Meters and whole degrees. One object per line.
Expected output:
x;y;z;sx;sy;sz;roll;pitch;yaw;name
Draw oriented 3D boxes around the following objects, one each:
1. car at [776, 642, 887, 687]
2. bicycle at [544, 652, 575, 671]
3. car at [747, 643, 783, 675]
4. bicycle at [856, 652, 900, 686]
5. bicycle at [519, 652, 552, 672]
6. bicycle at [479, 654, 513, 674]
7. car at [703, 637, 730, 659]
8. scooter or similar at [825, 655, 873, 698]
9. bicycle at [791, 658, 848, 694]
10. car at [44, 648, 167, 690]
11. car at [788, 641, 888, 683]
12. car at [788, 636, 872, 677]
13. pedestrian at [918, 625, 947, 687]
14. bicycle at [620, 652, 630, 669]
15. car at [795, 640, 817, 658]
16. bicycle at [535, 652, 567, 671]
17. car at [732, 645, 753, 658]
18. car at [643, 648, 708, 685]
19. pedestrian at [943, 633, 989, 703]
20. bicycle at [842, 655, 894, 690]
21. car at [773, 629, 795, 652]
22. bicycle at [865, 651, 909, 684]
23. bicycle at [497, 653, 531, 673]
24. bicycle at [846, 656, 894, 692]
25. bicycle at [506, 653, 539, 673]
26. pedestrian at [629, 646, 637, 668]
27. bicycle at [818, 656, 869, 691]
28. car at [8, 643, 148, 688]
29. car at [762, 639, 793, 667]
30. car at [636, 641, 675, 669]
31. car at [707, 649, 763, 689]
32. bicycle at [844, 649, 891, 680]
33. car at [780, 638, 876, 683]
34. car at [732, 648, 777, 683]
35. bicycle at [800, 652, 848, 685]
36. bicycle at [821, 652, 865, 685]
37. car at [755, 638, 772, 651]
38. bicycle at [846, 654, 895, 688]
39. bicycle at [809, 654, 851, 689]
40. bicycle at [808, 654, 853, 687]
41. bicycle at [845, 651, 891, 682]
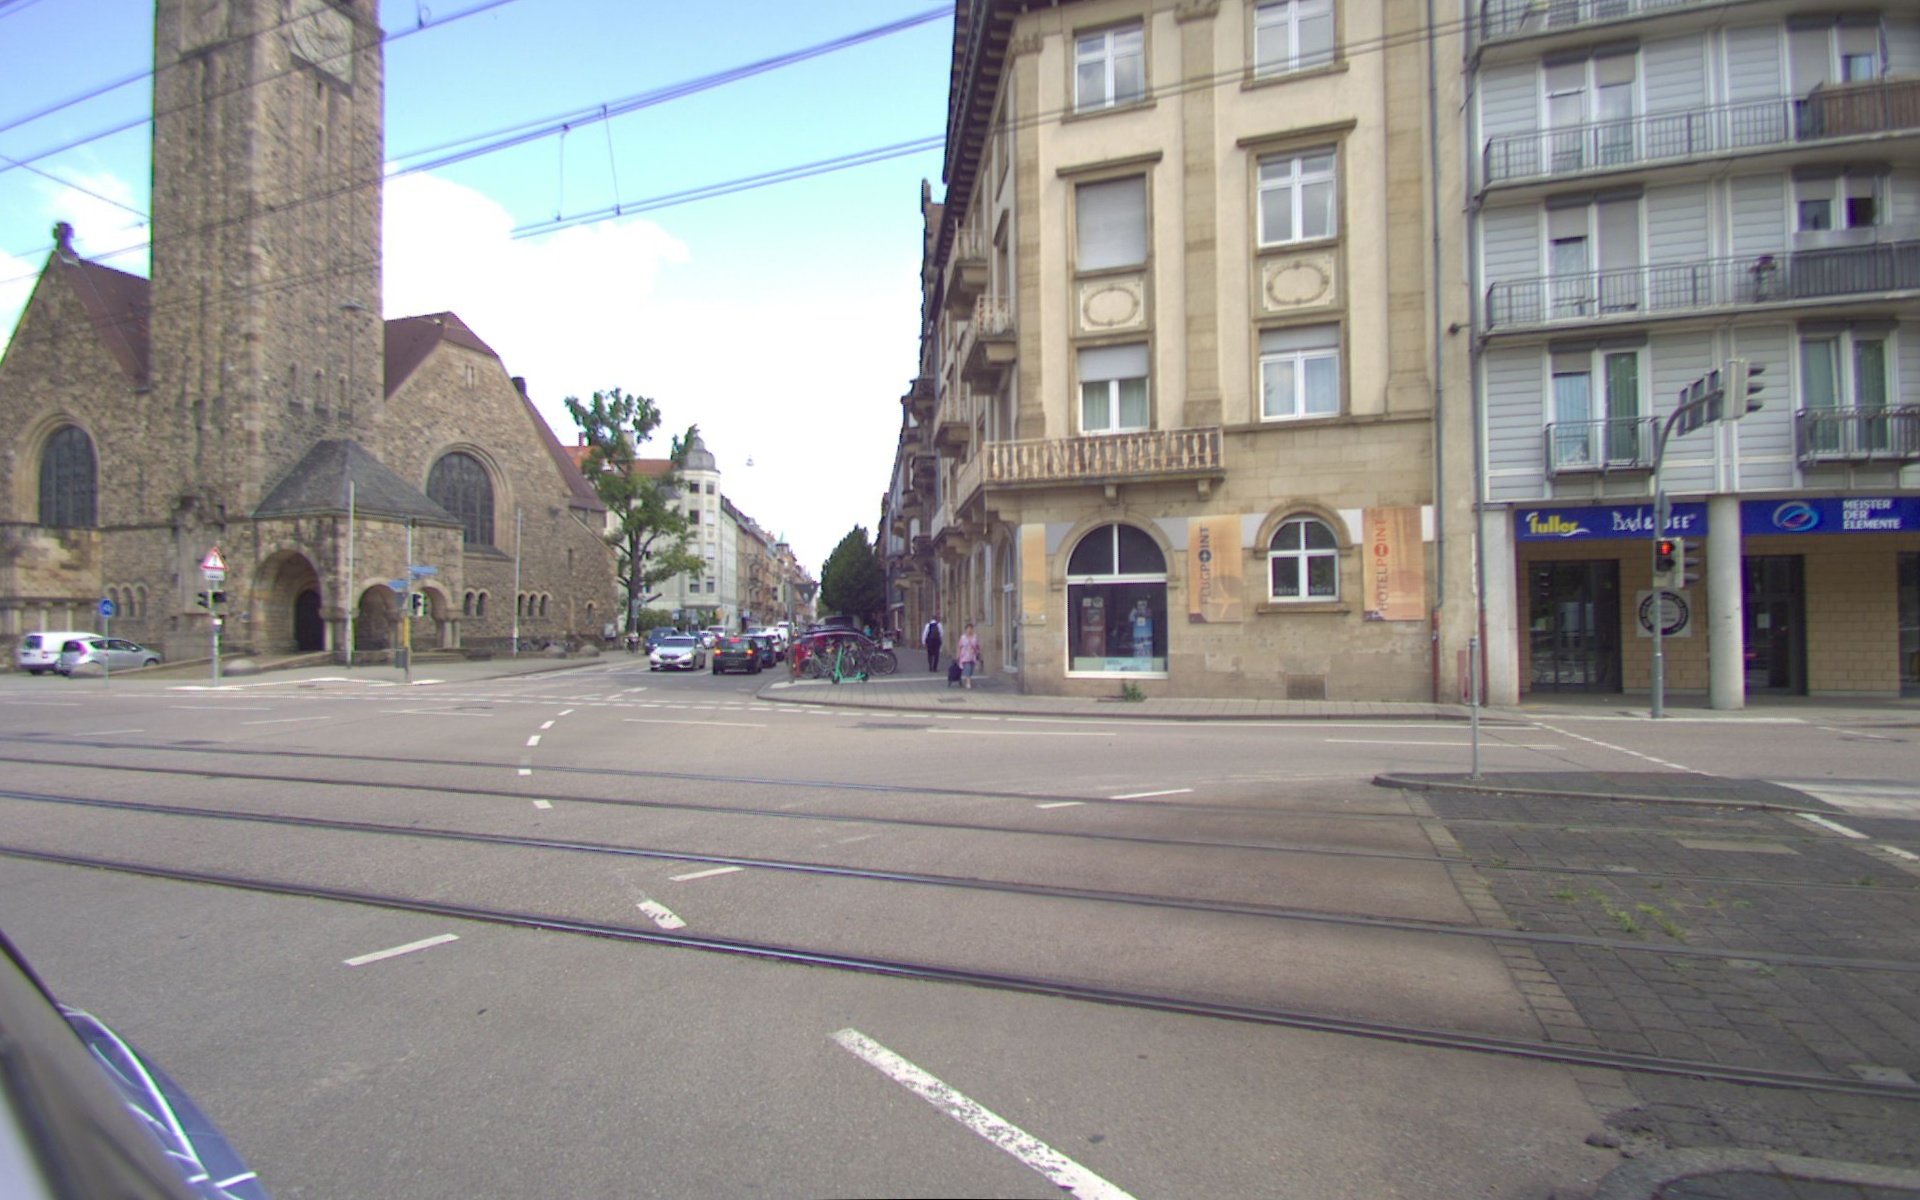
-4.959;2.499;39.325;3.940;1.468;1.814;-1;-3;-43;car
-26.057;3.971;65.878;1.922;1.120;0.583;2;-1;16;bicycle
-10.655;3.201;55.491;1.748;1.594;4.027;1;-2;-8;car
-2.806;2.356;34.682;1.462;1.060;0.463;-3;-2;-4;bicycle
-26.696;3.908;63.620;1.922;1.120;0.583;2;-1;16;bicycle
-27.728;3.822;60.519;1.922;1.120;0.583;2;-1;16;bicycle
-22.426;4.387;93.214;1.818;1.953;4.190;0;-2;-5;car
-3.200;2.207;29.172;1.240;1.155;0.479;-3;-2;13;scooter or similar
-4.530;2.457;32.666;1.718;1.060;0.529;-3;-3;11;bicycle
-36.339;2.932;43.154;1.803;1.691;3.617;-3;-4;16;car
-5.096;2.589;42.515;1.731;1.468;3.898;-7;-3;43;car
-6.636;2.910;51.963;3.891;1.882;1.734;-1;-3;-39;car
-0.883;1.769;32.132;0.793;1.874;0.906;-1;0;-5;pedestrian
-22.303;4.037;67.428;0.473;1.060;1.446;0;-2;-11;bicycle
-15.097;4.762;99.059;1.864;1.664;3.894;0;-2;-5;car
-26.318;3.950;65.123;1.922;1.120;0.583;2;-1;16;bicycle
-23.943;5.698;111.652;1.783;1.378;4.190;0;-2;-5;car
-12.027;2.787;43.071;1.800;1.459;4.390;1;-2;-4;car
0.134;1.655;24.712;0.930;1.607;0.997;-4;-2;-4;pedestrian
-3.002;2.351;32.998;1.592;1.060;0.480;-3;-2;3;bicycle
-19.897;4.646;114.394;2.051;2.464;5.953;1;-4;-6;car
-2.573;2.361;35.391;1.461;1.060;0.463;-2;-2;-8;bicycle
-27.325;3.864;62.034;1.922;1.120;0.583;2;-1;16;bicycle
-2.826;2.337;31.883;1.425;1.060;0.480;-3;-2;5;bicycle
-27.118;3.883;62.716;1.922;1.120;0.583;2;-1;16;bicycle
-21.828;3.781;67.566;0.458;1.466;0.557;0;-2;-10;pedestrian
-3.831;2.414;33.307;1.561;1.060;0.480;-3;-2;3;bicycle
-39.197;2.905;45.096;1.984;1.868;4.278;-3;-4;19;car
-12.336;3.613;68.708;1.790;1.789;4.289;1;-3;-6;car
-20.243;3.659;67.517;1.659;1.805;4.149;0;-2;-5;car
-8.788;2.681;39.763;1.692;1.444;3.822;0;-2;-6;car
-3.469;2.420;38.233;0.557;1.060;1.879;-5;-3;40;bicycle
-5.868;2.666;45.144;3.896;1.702;1.804;-1;-4;-45;car
-9.511;3.008;47.099;1.725;1.552;3.937;0;-2;-7;car
-4.901;2.456;36.453;0.557;1.060;1.789;-5;-3;39;bicycle
-4.133;2.410;35.757;1.461;1.060;0.463;-3;-3;-9;bicycle
-27.039;6.107;139.254;1.783;1.779;4.190;0;-2;-5;car
-2.986;2.381;33.845;1.561;1.060;0.480;-3;-2;3;bicycle
-4.402;2.413;34.211;1.352;1.060;0.418;-3;-3;-7;bicycle
-4.430;2.404;34.583;1.462;1.060;0.463;-3;-2;-5;bicycle
-3.334;2.396;36.575;1.607;1.060;0.558;-2;-2;-6;bicycle
